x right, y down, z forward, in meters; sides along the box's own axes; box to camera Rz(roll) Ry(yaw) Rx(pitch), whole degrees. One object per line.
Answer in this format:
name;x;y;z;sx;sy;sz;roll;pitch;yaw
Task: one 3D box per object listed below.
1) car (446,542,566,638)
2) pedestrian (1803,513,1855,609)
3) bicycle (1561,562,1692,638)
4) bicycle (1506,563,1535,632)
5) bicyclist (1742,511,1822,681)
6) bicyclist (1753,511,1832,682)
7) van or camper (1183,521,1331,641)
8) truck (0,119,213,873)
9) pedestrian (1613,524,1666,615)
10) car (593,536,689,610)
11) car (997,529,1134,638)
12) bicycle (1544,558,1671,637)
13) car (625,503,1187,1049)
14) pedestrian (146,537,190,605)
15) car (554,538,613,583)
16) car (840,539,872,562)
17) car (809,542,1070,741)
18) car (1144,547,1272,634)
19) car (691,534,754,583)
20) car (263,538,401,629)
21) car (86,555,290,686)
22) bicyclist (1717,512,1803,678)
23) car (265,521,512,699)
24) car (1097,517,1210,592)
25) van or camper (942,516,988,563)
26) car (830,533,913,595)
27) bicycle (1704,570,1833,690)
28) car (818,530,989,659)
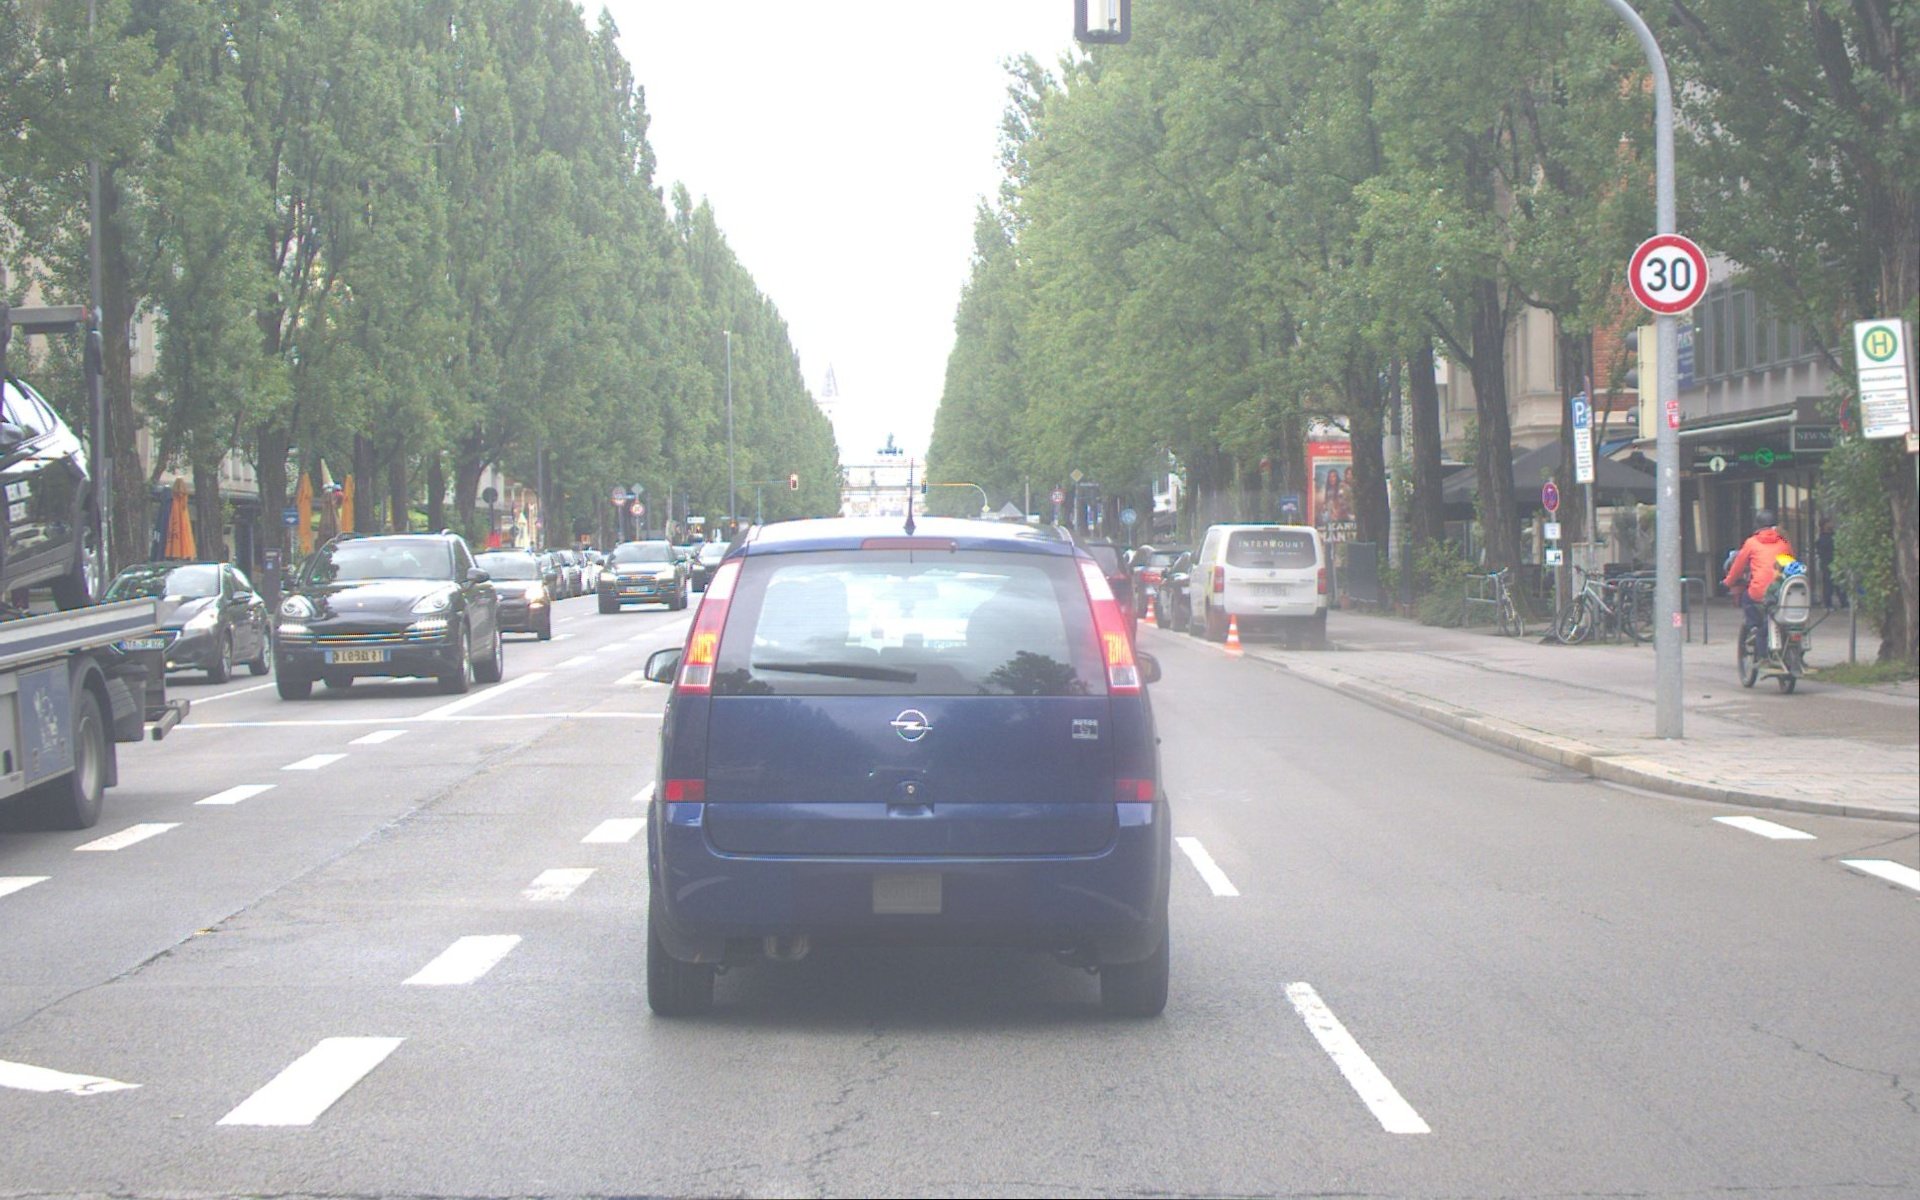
car;-7.477;-0.191;56.882;1.561;1.491;3.695;-2;1;-2
pedestrian;15.330;-0.700;60.685;0.670;1.603;0.771;-5;3;6
bicycle;9.387;-0.002;48.396;1.757;1.040;0.484;-1;1;-12
bicycle;8.768;-0.051;53.793;0.364;1.034;1.730;0;1;7
bicyclist;7.787;-0.043;32.582;0.621;1.583;0.481;-1;1;-2
bicyclist;7.796;-0.038;32.200;0.621;1.583;0.391;-1;1;-2
van or camper;4.782;-0.344;56.001;1.868;1.876;4.903;0;1;-1
truck;-5.904;-0.518;17.503;2.463;3.657;8.440;-1;1;-1
pedestrian;13.949;-0.629;70.596;0.826;1.834;1.099;-1;1;-1
car;-7.476;-0.658;80.880;1.913;1.675;4.586;0;1;-1
car;1.571;-0.285;52.429;1.706;1.568;4.001;-1;1;-4
bicycle;9.246;-0.042;49.077;1.737;1.106;0.448;-1;1;-11
car;-0.232;0.487;12.317;1.681;1.635;4.001;0;1;-2
pedestrian;-20.346;-0.758;88.366;0.851;1.738;1.148;0;1;-1
car;-13.392;-1.410;122.553;1.835;1.541;4.087;-1;1;-3
car;-6.515;-3.080;214.877;1.961;1.394;3.779;-1;1;-2
car;-0.228;0.285;28.480;1.993;1.492;4.001;-1;1;-2
car;4.394;-0.201;61.374;1.719;1.437;4.354;1;1;-3
car;-8.082;-1.425;117.338;1.935;1.618;4.337;0;1;-1
car;-12.378;-0.358;68.027;1.820;1.612;4.716;1;3;0
car;-9.292;0.209;41.629;1.641;1.434;3.998;-2;1;-2
bicyclist;7.757;-0.053;33.344;0.621;1.583;0.753;-1;1;-2
car;-5.959;0.053;36.314;1.884;1.740;4.439;-1;1;0
car;4.045;-0.966;72.438;1.816;1.501;4.233;-1;1;-4
van or camper;0.254;-3.394;192.201;2.476;2.572;5.845;-1;1;-1
car;-2.203;-0.909;85.154;1.993;1.492;4.001;0;1;-2
bicycle;7.773;0.270;33.143;0.626;1.083;2.264;-1;1;-2
car;-0.736;-0.110;42.658;1.993;1.492;4.001;-1;1;-2
